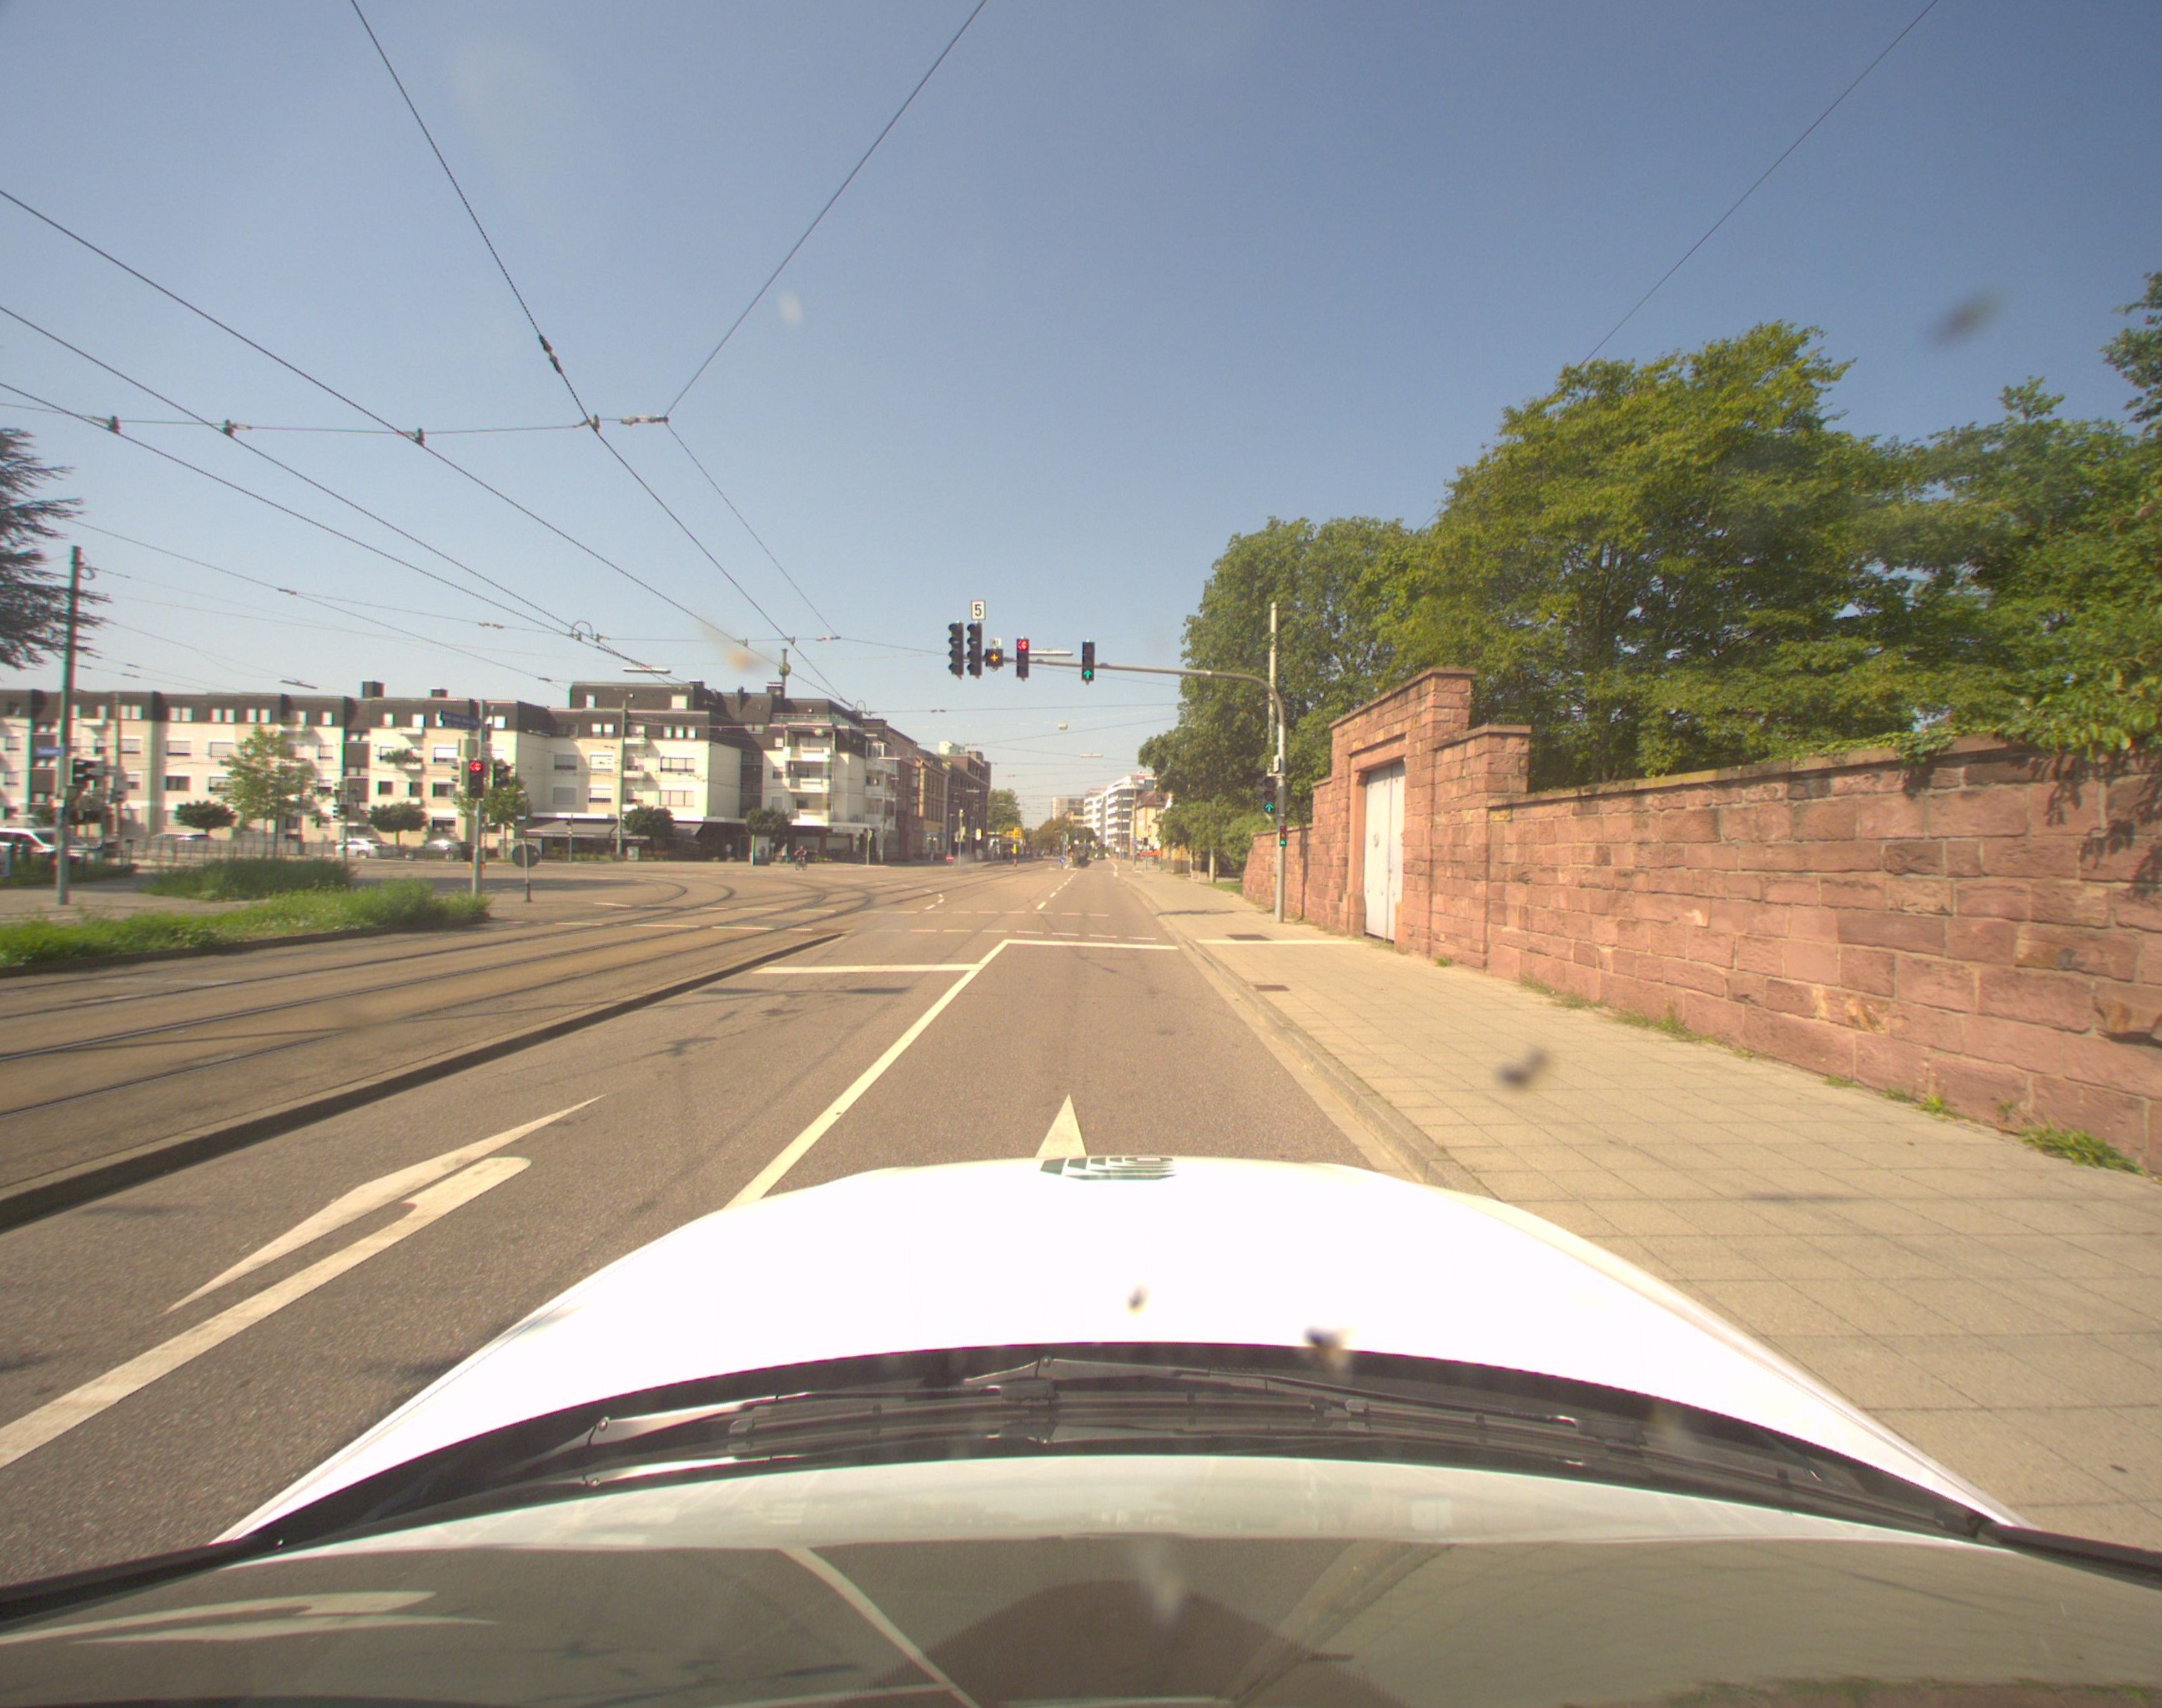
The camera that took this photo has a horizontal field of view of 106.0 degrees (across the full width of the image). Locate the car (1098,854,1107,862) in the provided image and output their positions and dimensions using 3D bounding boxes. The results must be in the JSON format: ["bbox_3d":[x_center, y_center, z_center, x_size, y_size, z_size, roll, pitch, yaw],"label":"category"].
[{"bbox_3d":[5.241,0.945,194.623,2.003,1.859,4.003,0,0,3],"label":"car"}]

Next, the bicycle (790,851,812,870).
[{"bbox_3d":[-18.468,0.414,53.803,0.572,1.179,2.210,0,0,3],"label":"bicycle"}]

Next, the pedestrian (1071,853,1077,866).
[{"bbox_3d":[-0.908,0.682,101.046,0.717,1.703,0.884,0,-1,2],"label":"pedestrian"}]

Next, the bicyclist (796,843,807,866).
[{"bbox_3d":[-18.467,0.040,53.832,0.566,1.523,0.490,0,-1,3],"label":"bicyclist"}]

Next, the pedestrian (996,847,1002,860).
[{"bbox_3d":[-10.439,-0.085,103.737,0.705,1.723,0.799,0,-1,2],"label":"pedestrian"}]

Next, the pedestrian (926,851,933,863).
[{"bbox_3d":[-18.864,0.377,101.547,0.479,1.560,0.890,2,-1,12],"label":"pedestrian"}]

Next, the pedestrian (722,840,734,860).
[{"bbox_3d":[-30.072,-0.337,69.353,0.677,1.741,0.698,0,-1,2],"label":"pedestrian"}]

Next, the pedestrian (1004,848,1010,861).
[{"bbox_3d":[-10.198,0.070,111.574,0.705,1.747,0.799,0,-1,2],"label":"pedestrian"}]

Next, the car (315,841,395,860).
[{"bbox_3d":[-50.395,-0.238,56.580,4.095,1.299,1.673,0,0,0],"label":"car"}]

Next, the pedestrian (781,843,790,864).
[{"bbox_3d":[-24.452,-0.019,67.466,0.602,1.745,0.560,0,-1,-32],"label":"pedestrian"}]

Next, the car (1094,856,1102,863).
[{"bbox_3d":[4.211,1.375,200.820,2.003,1.859,4.003,0,0,3],"label":"car"}]

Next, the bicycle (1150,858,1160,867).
[{"bbox_3d":[9.600,1.130,105.174,0.730,1.132,2.834,-2,0,-6],"label":"bicycle"}]

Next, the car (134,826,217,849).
[{"bbox_3d":[-63.236,-1.138,56.930,3.892,1.481,1.673,0,0,0],"label":"car"}]

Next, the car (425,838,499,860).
[{"bbox_3d":[-47.605,-0.369,62.697,4.095,1.507,1.930,3,0,0],"label":"car"}]

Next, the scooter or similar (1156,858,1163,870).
[{"bbox_3d":[7.066,0.898,73.035,0.521,1.133,1.512,0,0,2],"label":"scooter or similar"}]

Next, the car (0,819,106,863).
[{"bbox_3d":[-47.667,-0.593,37.245,3.996,1.886,1.825,2,0,3],"label":"car"}]
